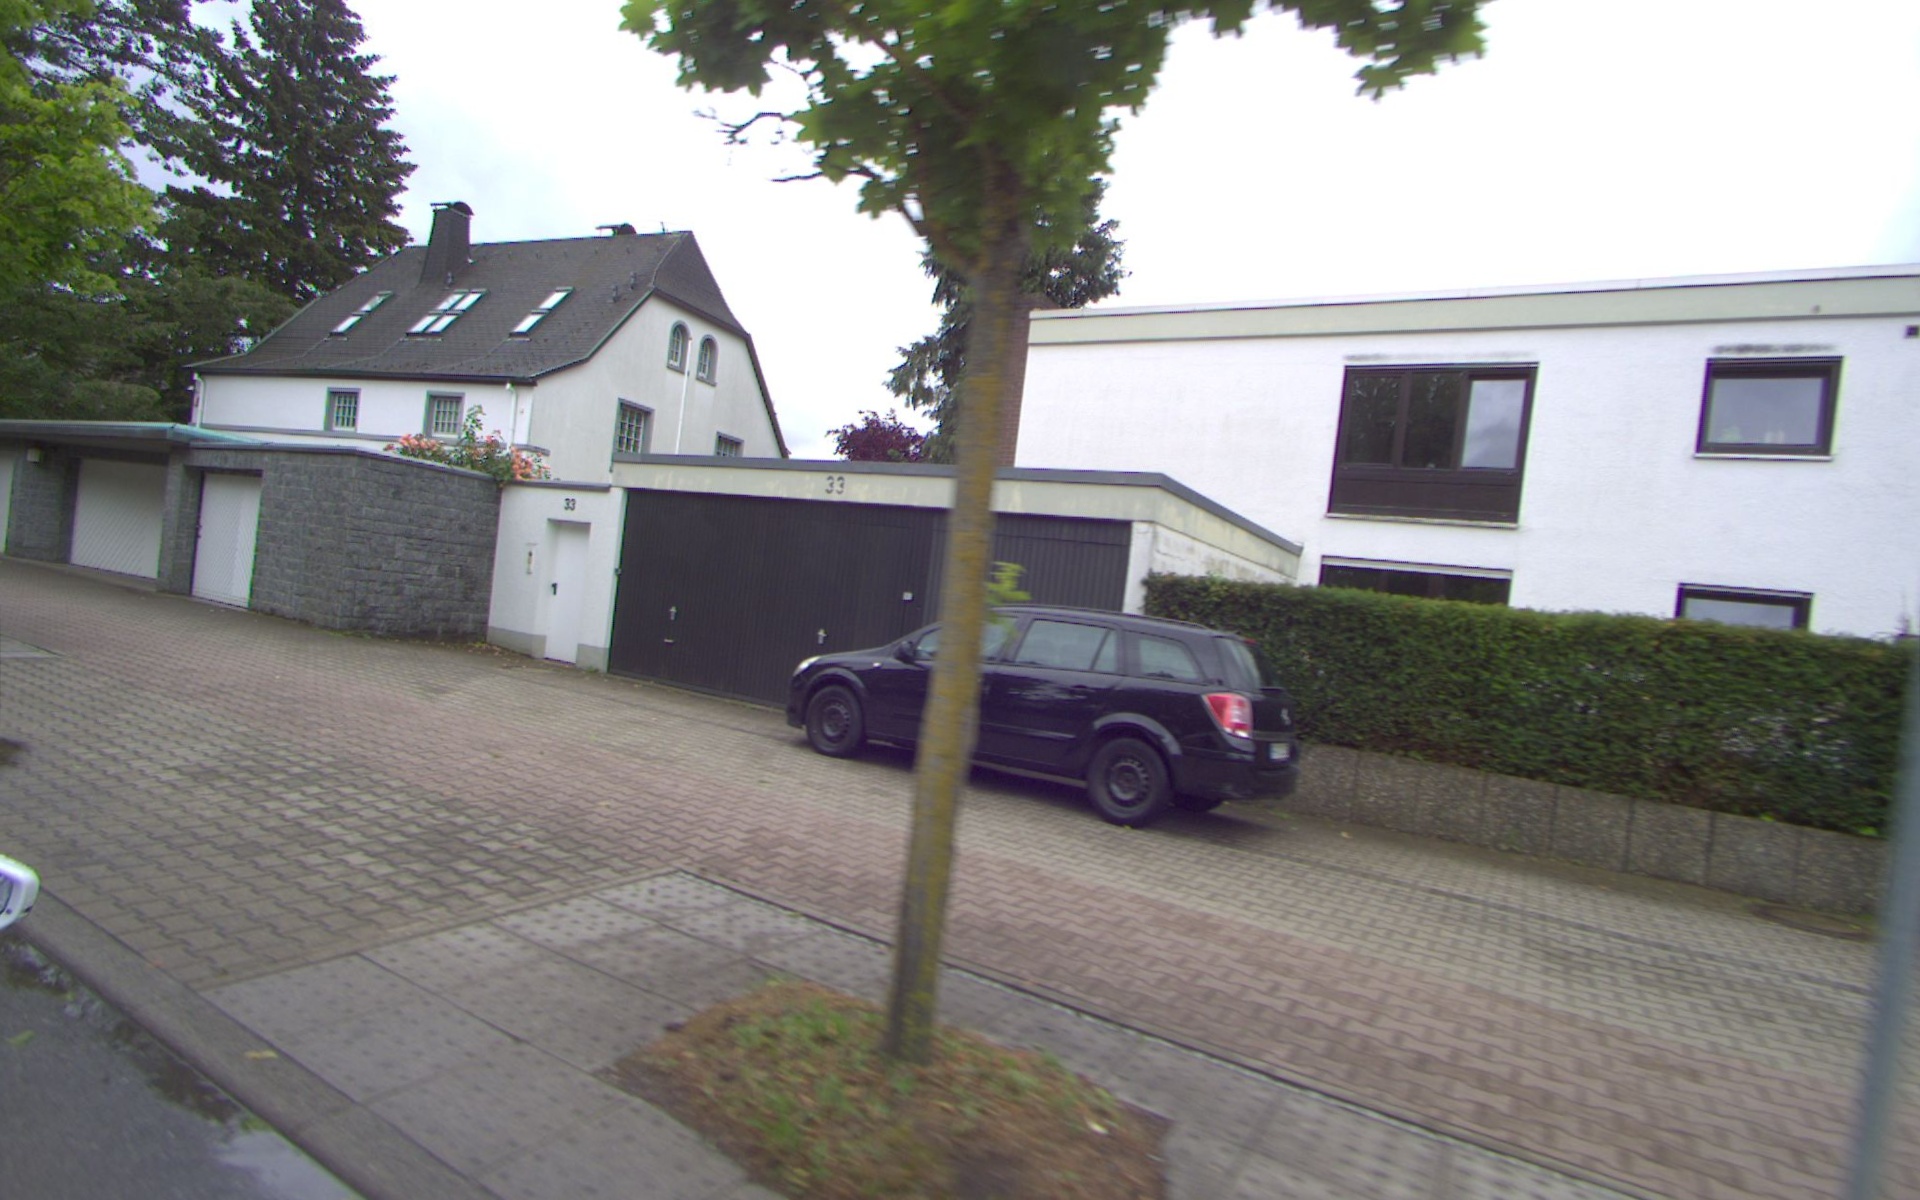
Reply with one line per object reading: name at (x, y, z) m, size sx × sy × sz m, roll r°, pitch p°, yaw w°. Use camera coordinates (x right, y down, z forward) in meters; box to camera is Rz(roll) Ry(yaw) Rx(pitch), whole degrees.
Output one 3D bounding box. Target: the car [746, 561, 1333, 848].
car at (0.529, 0.686, 8.411) m, size 4.470 × 1.516 × 1.772 m, roll 7°, pitch 0°, yaw 33°
